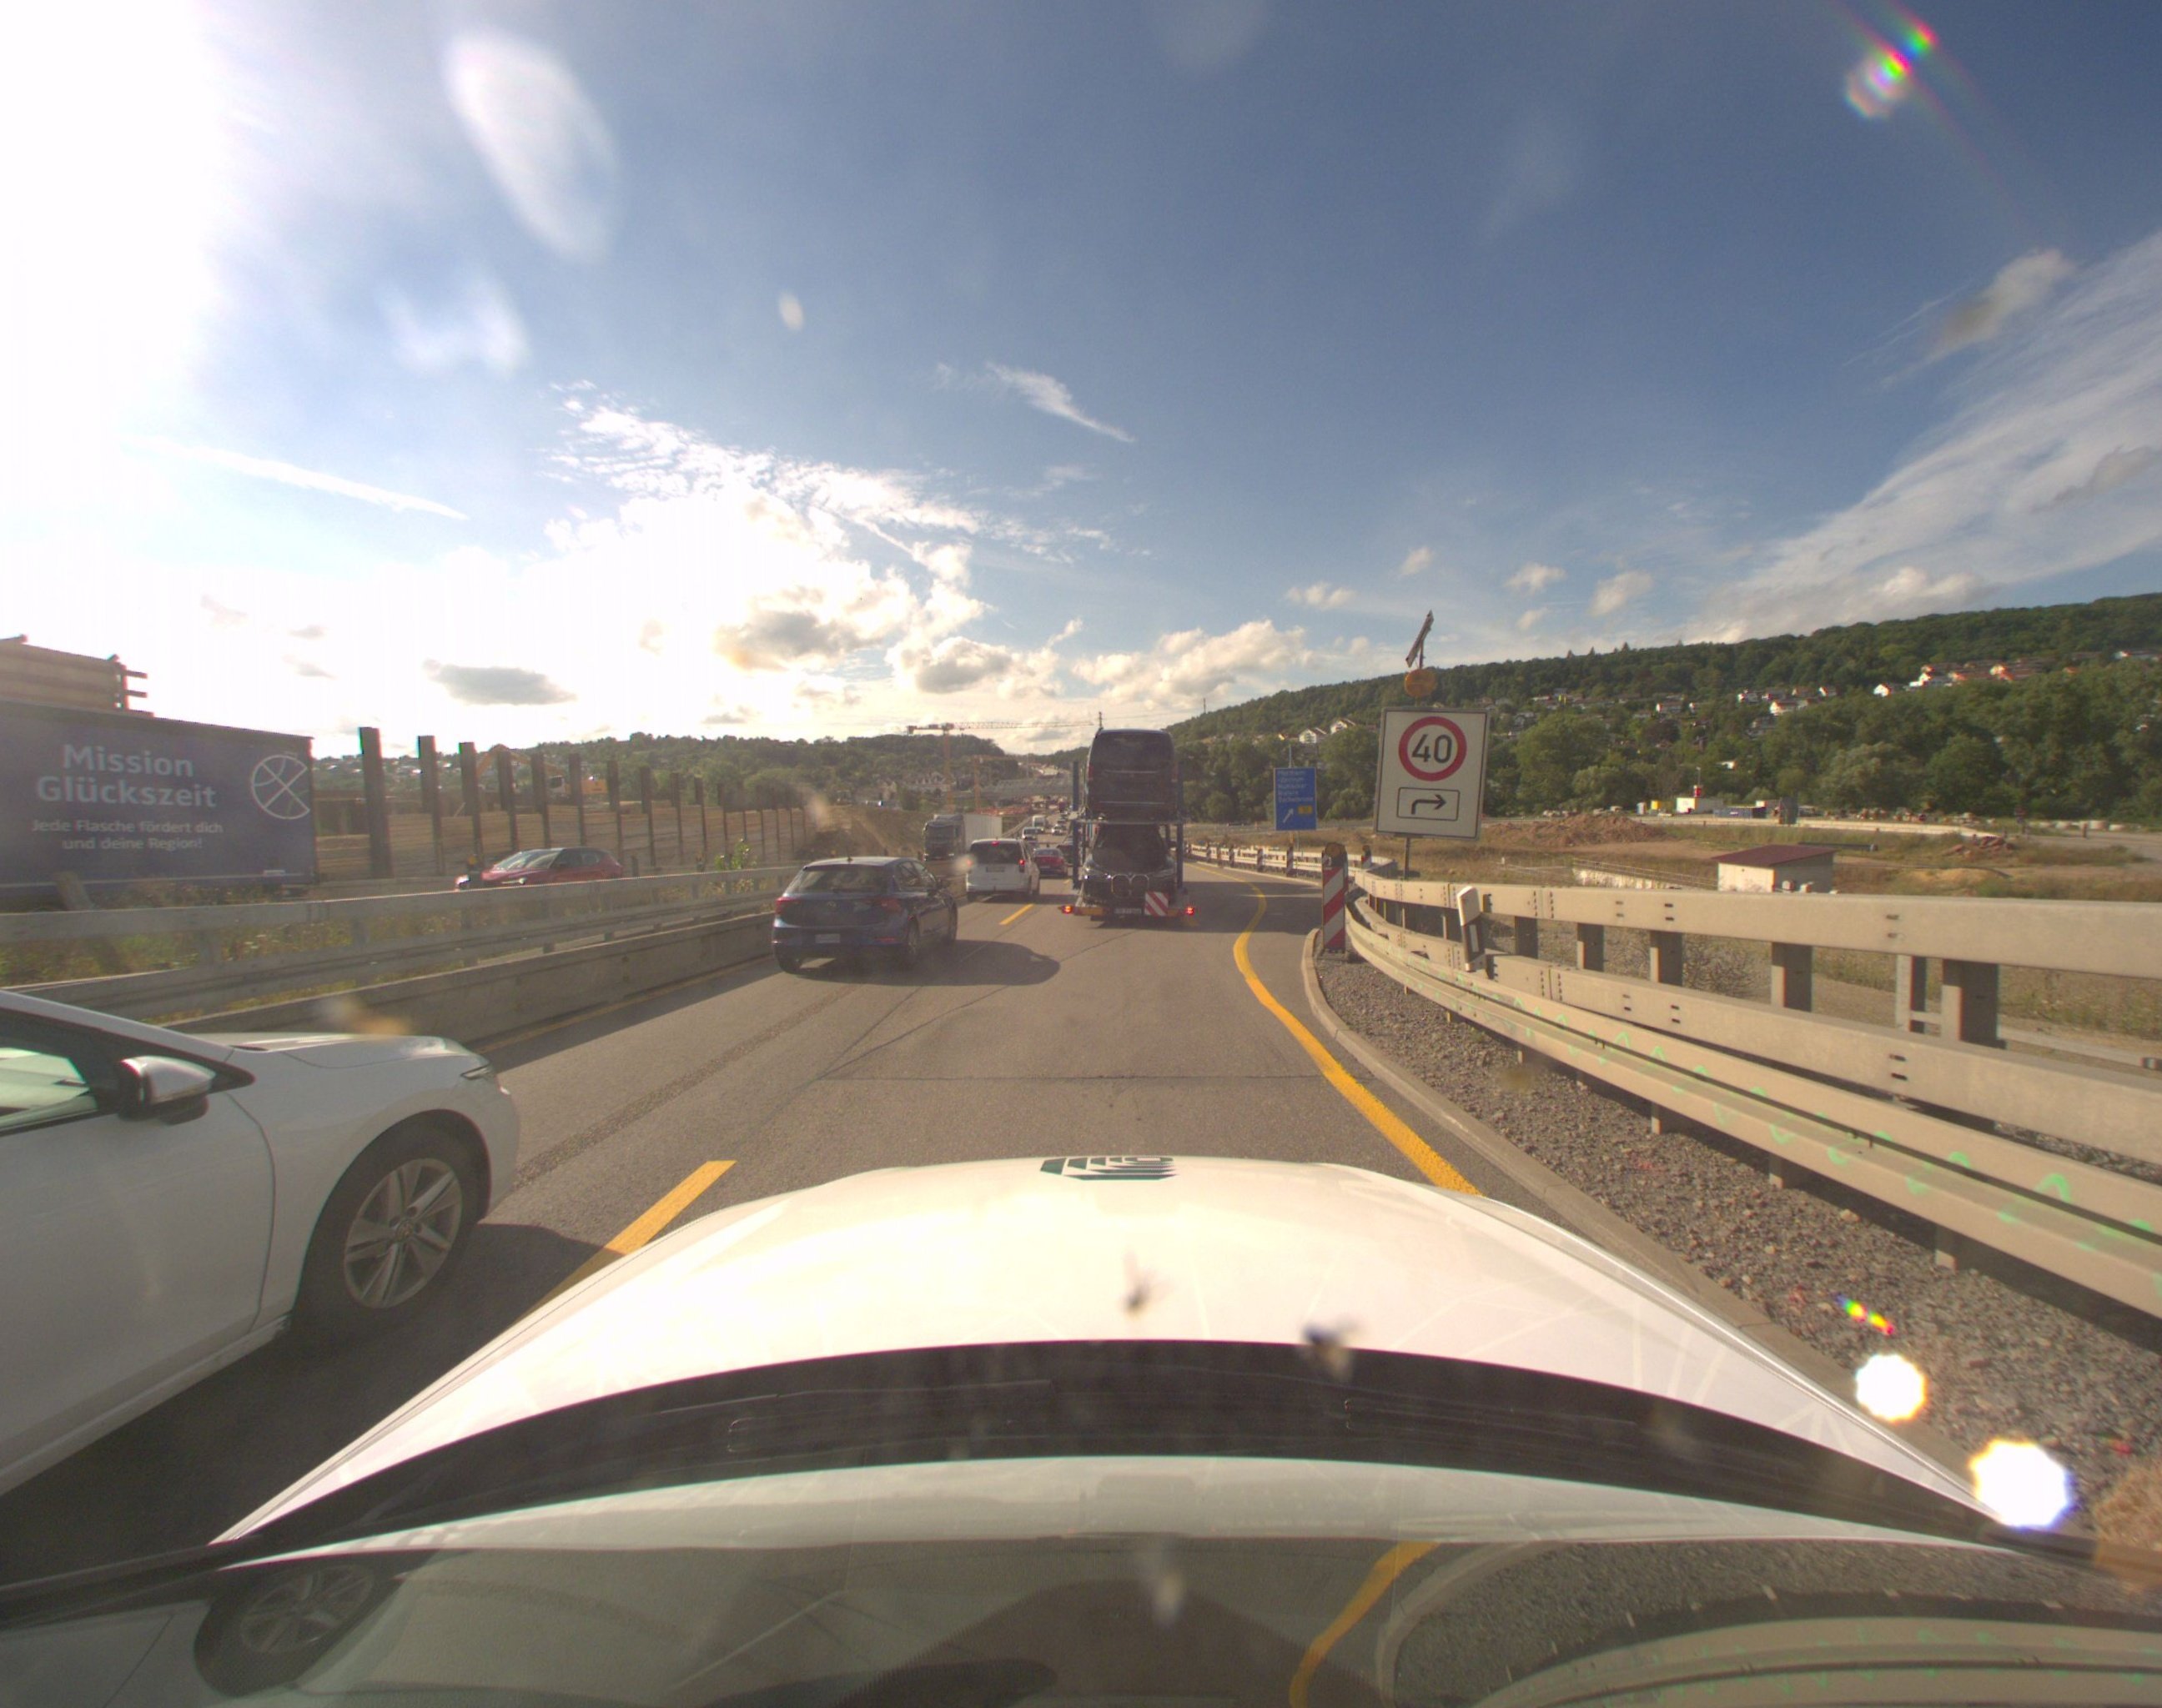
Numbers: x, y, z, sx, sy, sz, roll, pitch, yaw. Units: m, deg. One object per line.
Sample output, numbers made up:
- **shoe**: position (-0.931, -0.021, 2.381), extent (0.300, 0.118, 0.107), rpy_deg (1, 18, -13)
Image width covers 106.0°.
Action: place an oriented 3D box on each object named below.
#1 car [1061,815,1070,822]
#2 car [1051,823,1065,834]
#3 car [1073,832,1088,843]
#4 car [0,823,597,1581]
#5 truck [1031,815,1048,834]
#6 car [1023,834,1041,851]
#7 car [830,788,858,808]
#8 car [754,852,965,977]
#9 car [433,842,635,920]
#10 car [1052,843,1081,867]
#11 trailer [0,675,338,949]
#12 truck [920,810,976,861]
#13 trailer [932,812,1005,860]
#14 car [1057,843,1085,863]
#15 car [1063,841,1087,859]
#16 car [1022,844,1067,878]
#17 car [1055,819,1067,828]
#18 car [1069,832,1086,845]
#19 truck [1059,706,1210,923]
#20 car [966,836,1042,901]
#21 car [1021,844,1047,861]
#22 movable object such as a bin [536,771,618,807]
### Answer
- **car**: position (-3.793, -8.696, 197.485), extent (1.846, 1.635, 4.752), rpy_deg (1, 3, 2)
- **car**: position (-4.053, -4.508, 144.251), extent (2.118, 1.673, 4.276), rpy_deg (1, 4, 2)
- **car**: position (-0.041, -2.465, 121.647), extent (1.986, 1.552, 4.002), rpy_deg (0, 0, 2)
- **car**: position (-3.037, 0.712, 1.252), extent (1.763, 1.491, 4.517), rpy_deg (-2, 0, 1)
- **truck**: position (-7.648, -5.448, 151.205), extent (2.691, 3.311, 7.538), rpy_deg (0, 0, 1)
- **car**: position (-7.044, -1.688, 118.030), extent (2.251, 2.402, 5.867), rpy_deg (0, 0, 0)
- **car**: position (-31.478, -7.376, 108.348), extent (1.987, 2.140, 5.321), rpy_deg (-5, 0, 0)
- **car**: position (-2.887, 0.708, 11.544), extent (1.715, 1.422, 4.003), rpy_deg (0, 0, 3)
- **car**: position (-13.791, 0.622, 20.922), extent (1.913, 1.767, 4.335), rpy_deg (0, 0, 7)
- **car**: position (-1.049, 0.069, 57.054), extent (1.989, 1.552, 3.996), rpy_deg (0, 0, -3)
- **trailer**: position (-17.796, -0.630, 10.857), extent (2.677, 4.156, 13.820), rpy_deg (0, 0, 2)
- **truck**: position (-10.467, -1.403, 64.716), extent (2.762, 3.788, 6.030), rpy_deg (0, 0, 7)
- **trailer**: position (-9.551, -1.440, 71.586), extent (2.805, 3.841, 13.832), rpy_deg (0, 0, 7)
- **car**: position (-0.779, -0.112, 65.726), extent (1.986, 1.552, 4.002), rpy_deg (0, 0, 2)
- **car**: position (-0.513, -0.330, 72.777), extent (1.986, 1.552, 4.002), rpy_deg (0, 0, 2)
- **car**: position (-1.762, 0.323, 40.329), extent (1.987, 1.556, 4.401), rpy_deg (0, 0, 0)
- **car**: position (-3.928, -6.135, 163.222), extent (2.118, 1.765, 5.035), rpy_deg (1, 4, 2)
- **car**: position (-0.457, -2.049, 106.839), extent (1.986, 1.552, 4.002), rpy_deg (0, 0, 2)
- **truck**: position (1.425, -0.721, 24.411), extent (2.742, 3.954, 18.902), rpy_deg (1, 0, 3)
- **car**: position (-2.246, 0.397, 24.697), extent (1.816, 1.792, 4.001), rpy_deg (0, 0, 1)
- **car**: position (-4.676, -0.150, 81.995), extent (1.983, 1.726, 4.129), rpy_deg (0, 0, 6)
- **movable object such as a bin**: position (-52.716, -6.756, 85.309), extent (5.707, 3.270, 4.526), rpy_deg (0, 0, 12)
